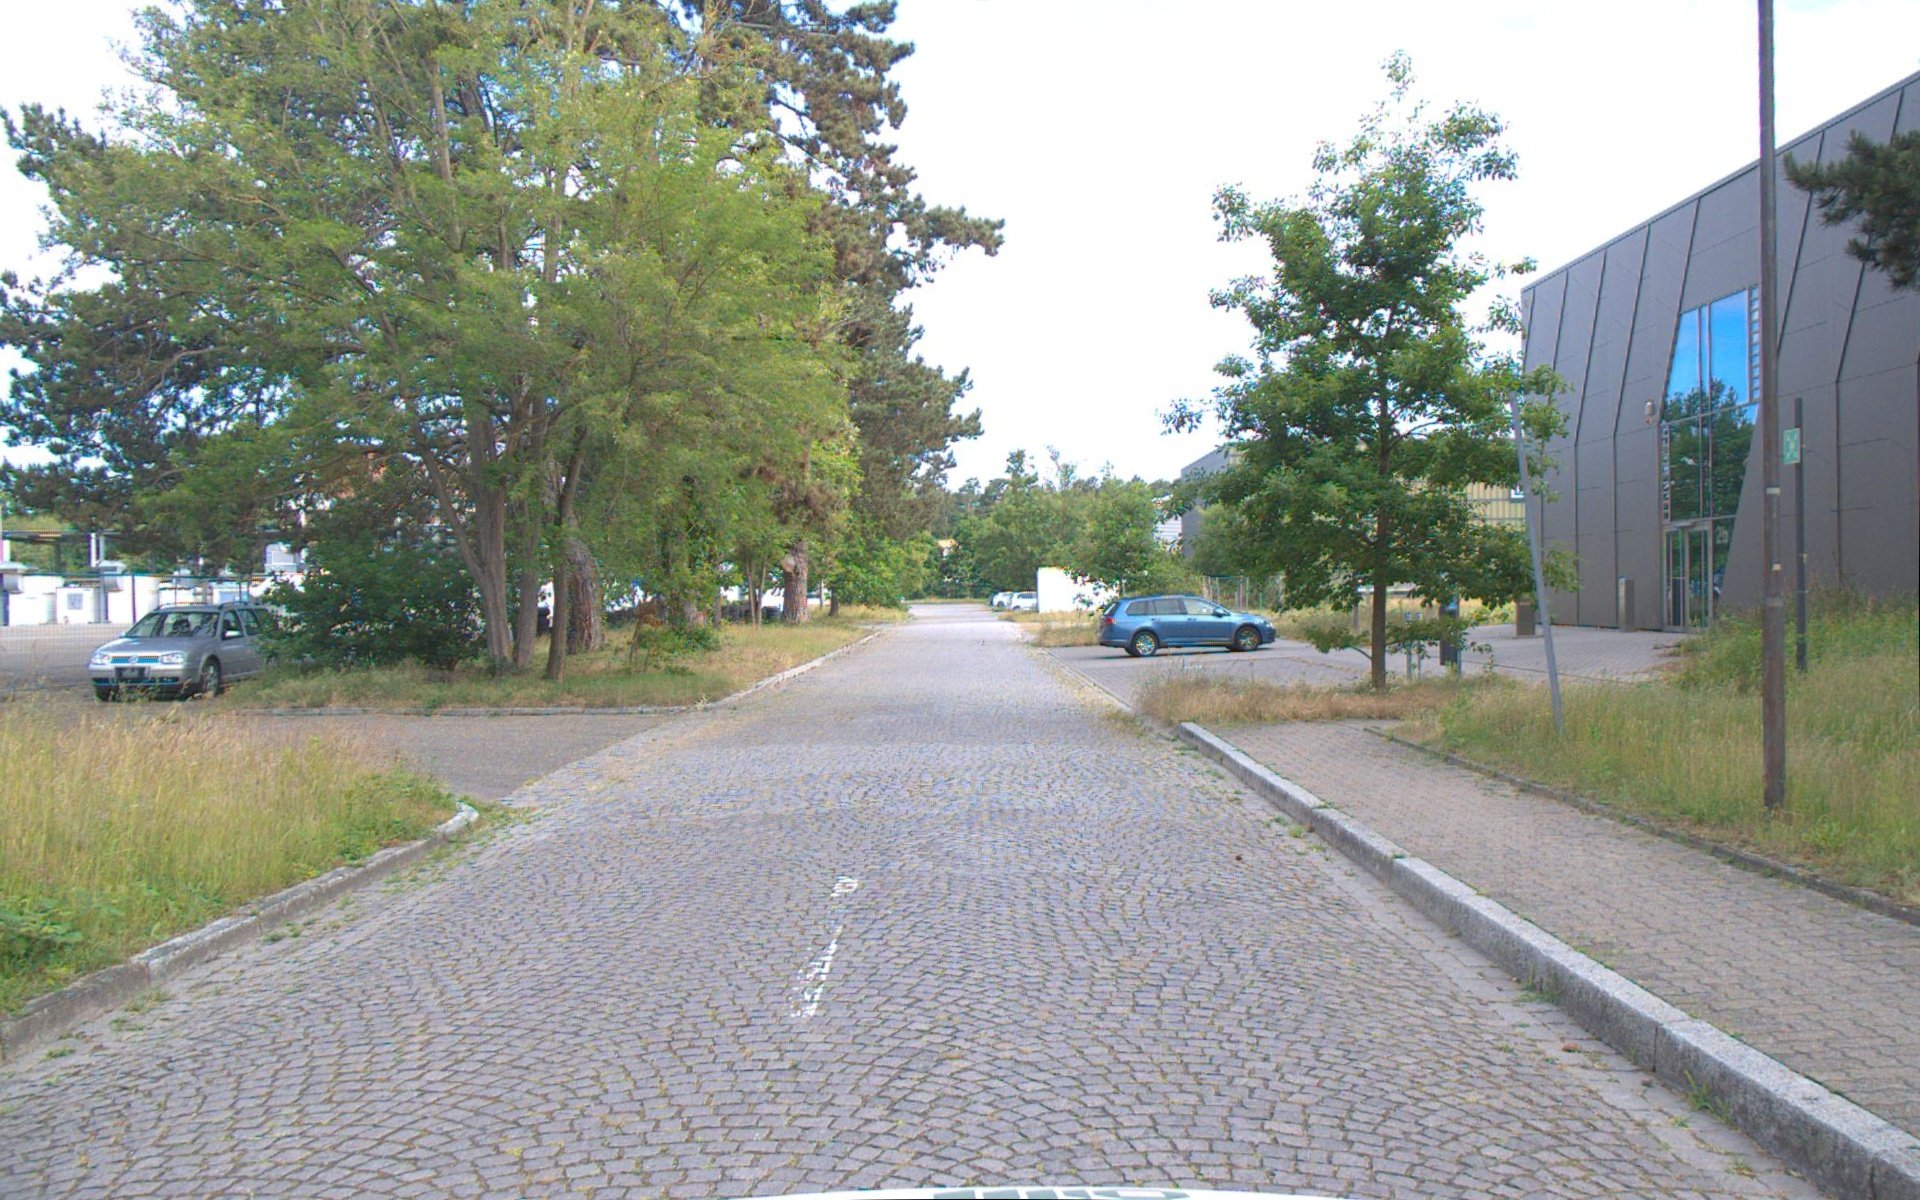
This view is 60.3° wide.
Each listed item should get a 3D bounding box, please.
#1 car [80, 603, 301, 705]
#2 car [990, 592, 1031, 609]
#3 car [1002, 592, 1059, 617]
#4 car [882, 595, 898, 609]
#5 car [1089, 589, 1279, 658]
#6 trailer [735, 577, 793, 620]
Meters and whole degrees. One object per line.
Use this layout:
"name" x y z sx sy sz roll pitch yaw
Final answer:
"car" -12.462 0.815 27.120 1.681 1.463 4.465 -1 0 -3
"car" 4.938 0.062 161.427 3.942 1.528 1.548 -1 0 0
"car" 4.905 0.299 115.276 3.773 1.683 1.685 -1 0 -3
"car" -7.620 0.239 180.388 1.700 1.495 4.043 -1 0 -2
"car" 5.619 0.566 41.733 4.433 1.468 1.822 -3 0 -4
"trailer" -15.076 -0.122 127.799 3.093 3.121 8.786 -1 0 2
